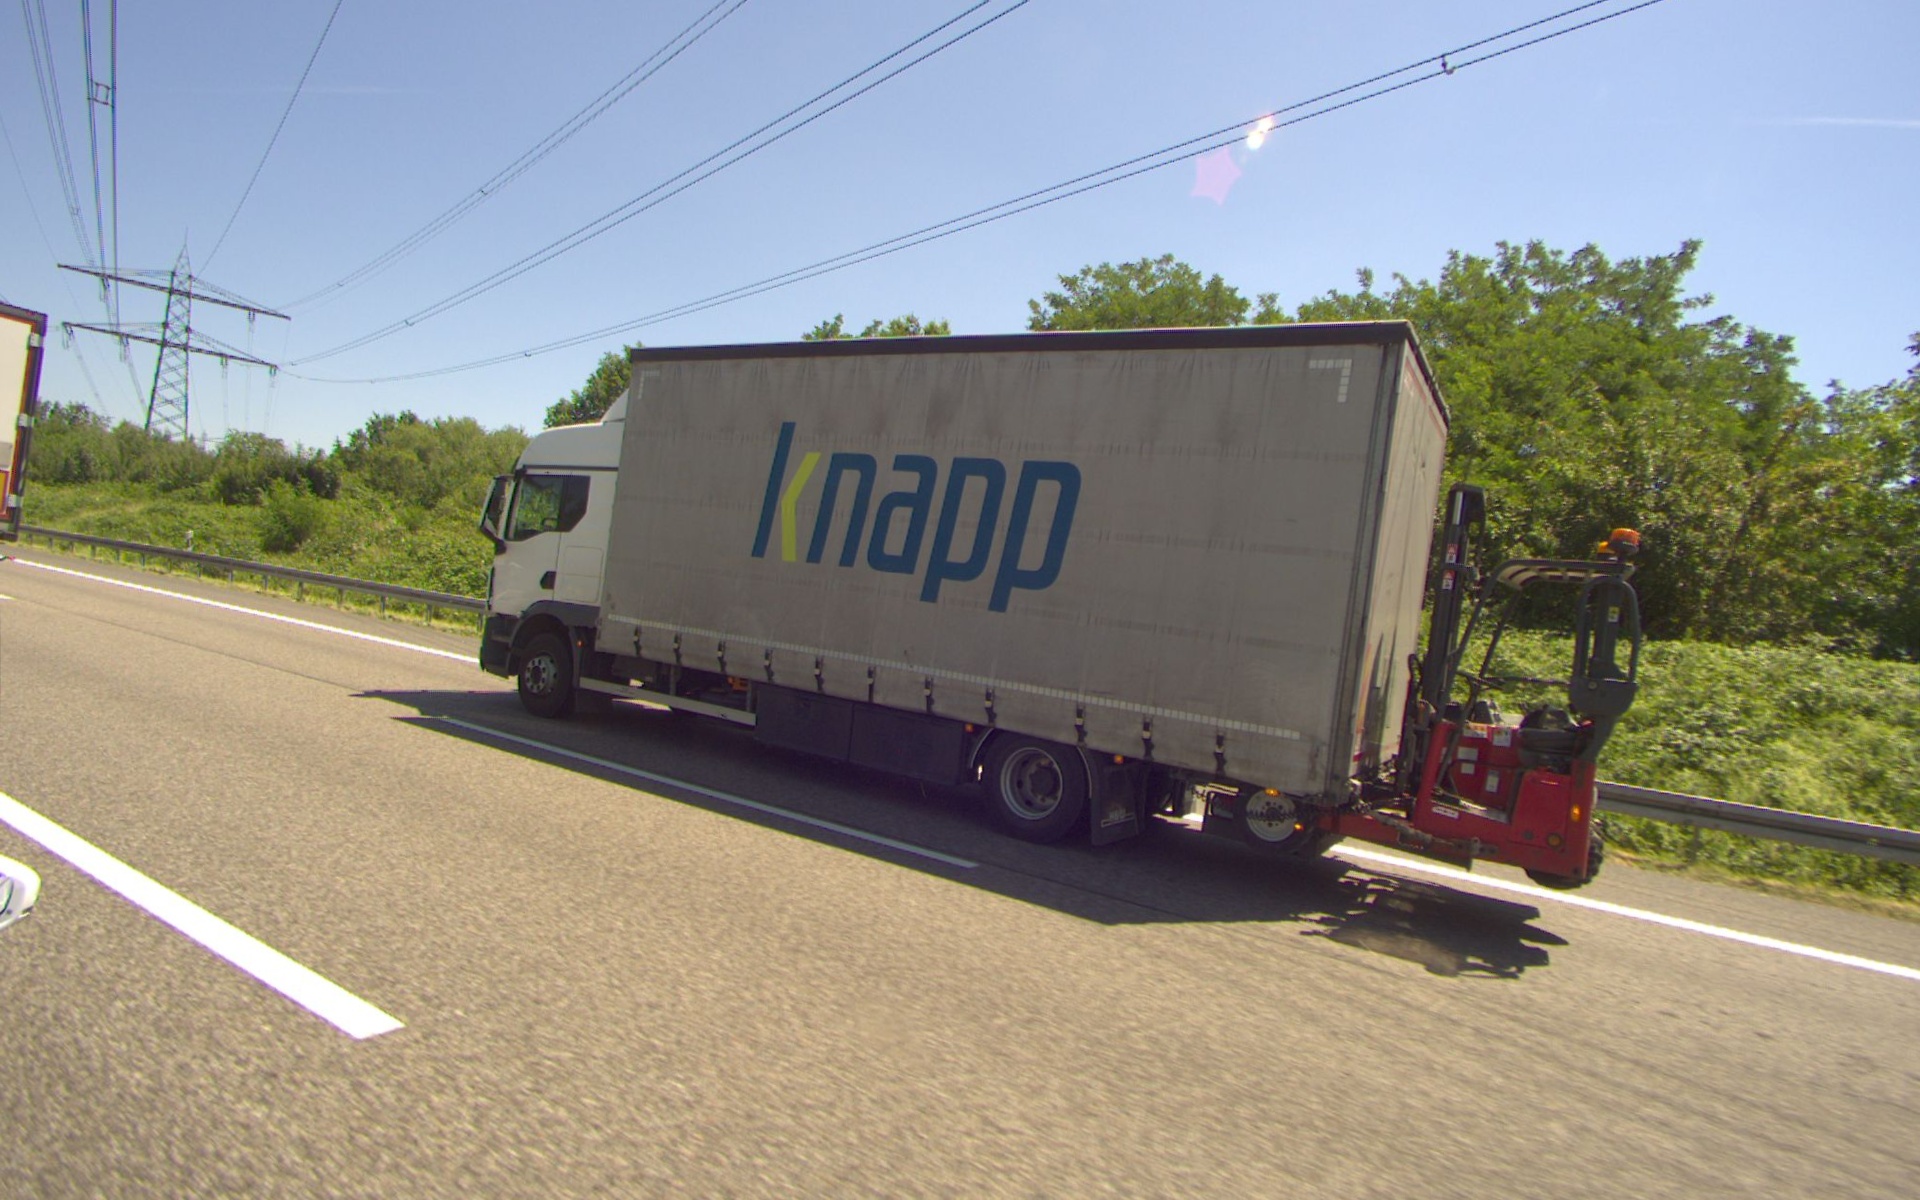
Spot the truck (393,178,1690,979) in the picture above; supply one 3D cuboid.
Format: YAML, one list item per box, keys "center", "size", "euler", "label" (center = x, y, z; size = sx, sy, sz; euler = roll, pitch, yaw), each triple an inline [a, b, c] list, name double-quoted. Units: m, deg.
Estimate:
- center: [-0.331, -0.476, 9.871]
  size: [11.458, 4.293, 3.579]
  euler: [6, -2, 31]
  label: "truck"

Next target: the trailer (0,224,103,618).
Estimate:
- center: [-17.825, -2.932, 15.470]
  size: [12.055, 4.941, 3.093]
  euler: [6, -2, 32]
  label: "trailer"
